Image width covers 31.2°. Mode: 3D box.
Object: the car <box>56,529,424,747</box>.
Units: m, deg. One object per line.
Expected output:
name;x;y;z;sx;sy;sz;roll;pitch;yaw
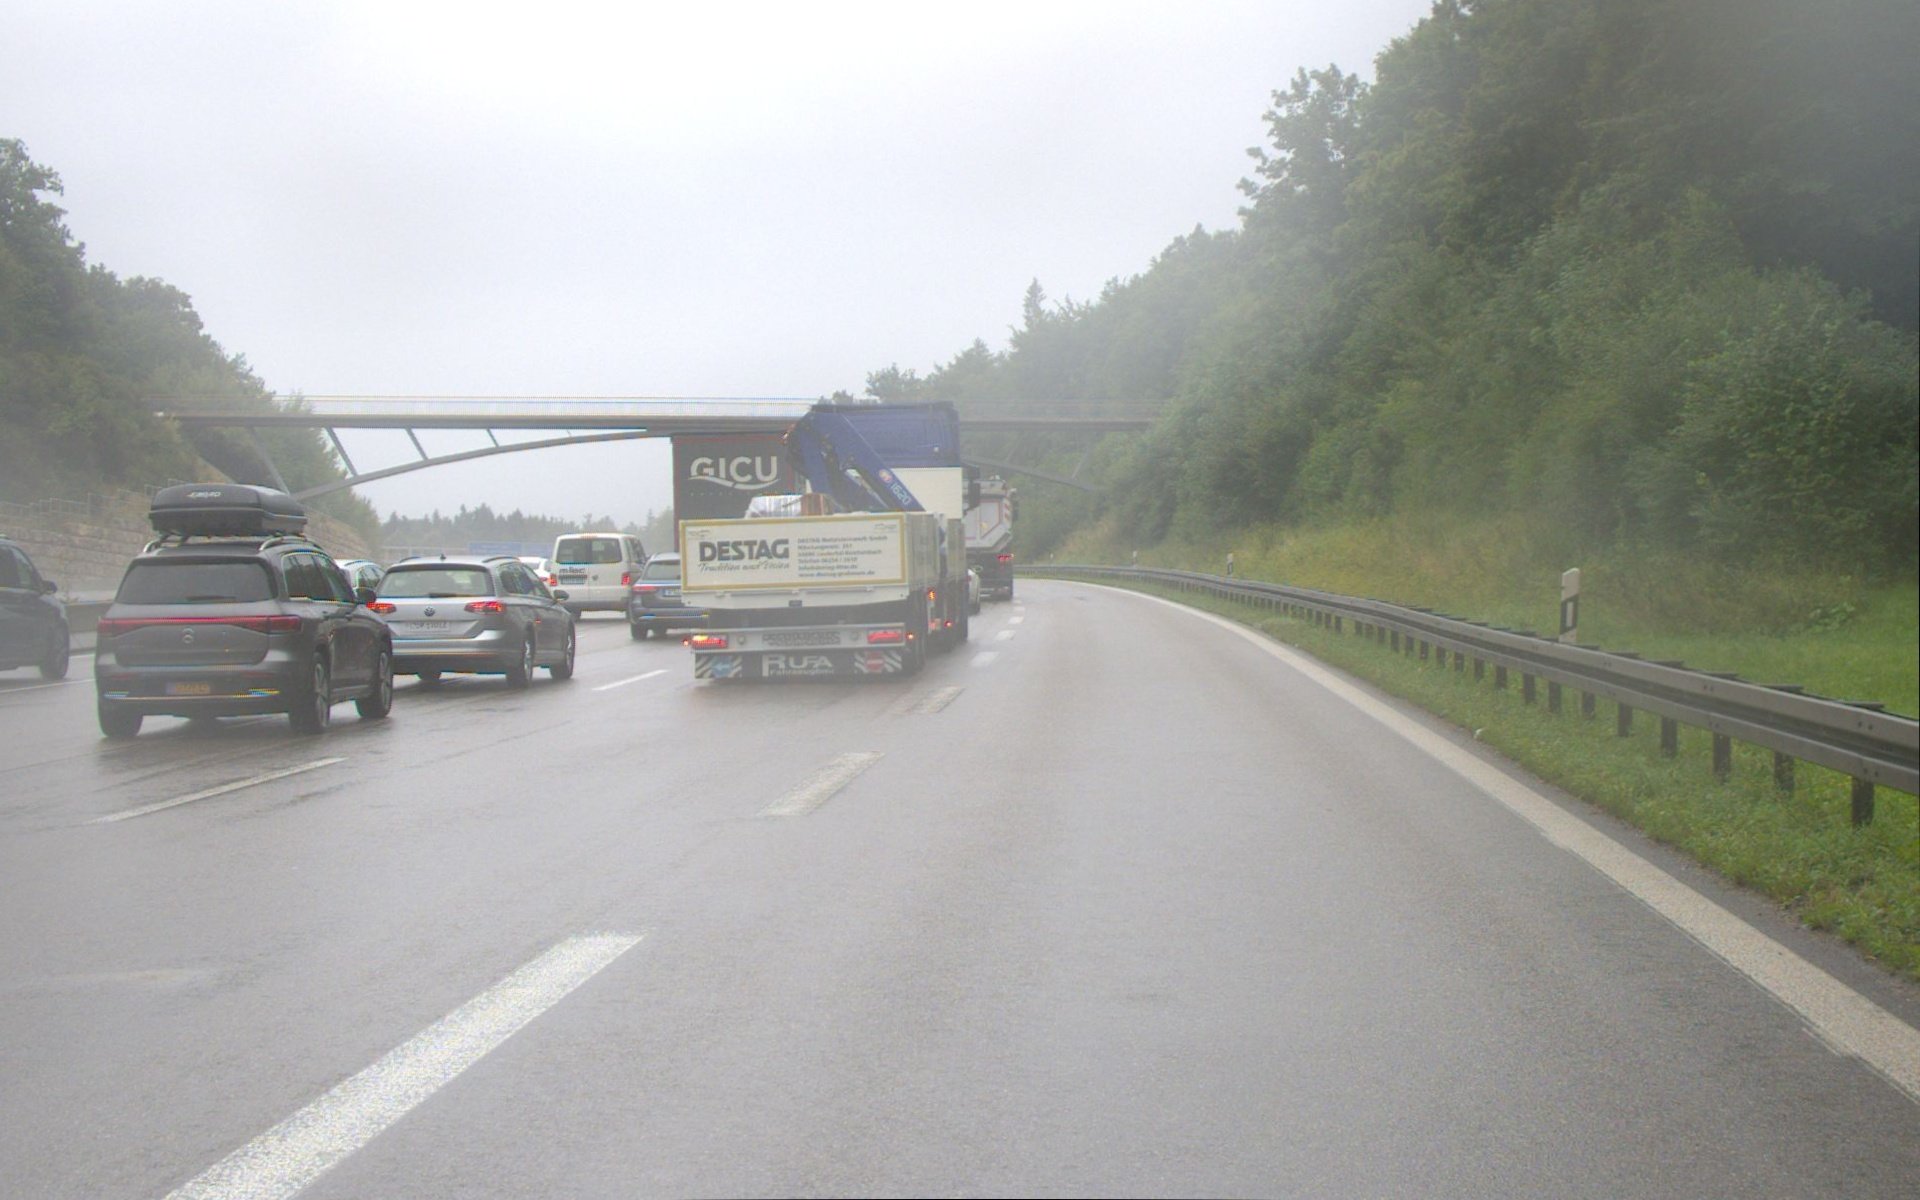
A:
car;-6.072;0.323;29.486;1.994;1.630;3.999;3;0;4

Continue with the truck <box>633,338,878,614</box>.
truck;-4.363;-2.556;76.301;3.755;5.480;10.170;3;0;5

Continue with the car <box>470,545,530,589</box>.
car;-19.316;-1.369;144.489;1.993;1.672;4.000;3;0;-1

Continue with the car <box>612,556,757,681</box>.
car;-4.732;0.329;59.559;1.793;2.007;3.999;3;0;5

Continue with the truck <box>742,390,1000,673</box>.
truck;-1.342;-1.027;59.191;3.507;4.253;10.602;3;0;2

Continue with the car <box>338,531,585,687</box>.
car;-5.565;0.062;38.842;1.938;1.656;4.000;-1;1;4

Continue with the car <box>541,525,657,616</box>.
car;-8.019;-0.629;76.694;1.844;1.853;3.999;3;0;3

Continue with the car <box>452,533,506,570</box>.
car;-24.192;-2.448;172.987;1.993;1.816;4.000;-1;1;2

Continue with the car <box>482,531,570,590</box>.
car;-11.798;-1.051;93.620;1.622;1.443;3.760;3;0;3

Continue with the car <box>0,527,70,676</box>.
car;-12.718;0.027;42.583;1.928;1.826;4.586;-1;1;3

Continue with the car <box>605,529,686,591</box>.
car;-9.262;-1.155;101.478;1.851;1.657;4.000;3;0;2

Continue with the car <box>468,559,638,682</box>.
car;-5.740;0.255;48.893;1.755;1.641;4.000;-1;1;3

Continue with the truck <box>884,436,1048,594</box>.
truck;0.312;-2.308;98.467;3.755;3.957;11.057;3;0;4

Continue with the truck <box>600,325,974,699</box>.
truck;-1.891;-1.076;43.758;3.600;4.091;11.559;-1;1;3

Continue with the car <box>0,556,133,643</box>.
car;-19.162;-0.031;73.300;1.993;1.763;4.000;-1;1;1

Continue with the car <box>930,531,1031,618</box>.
car;0.491;-0.558;77.888;1.994;1.794;3.999;3;0;4
